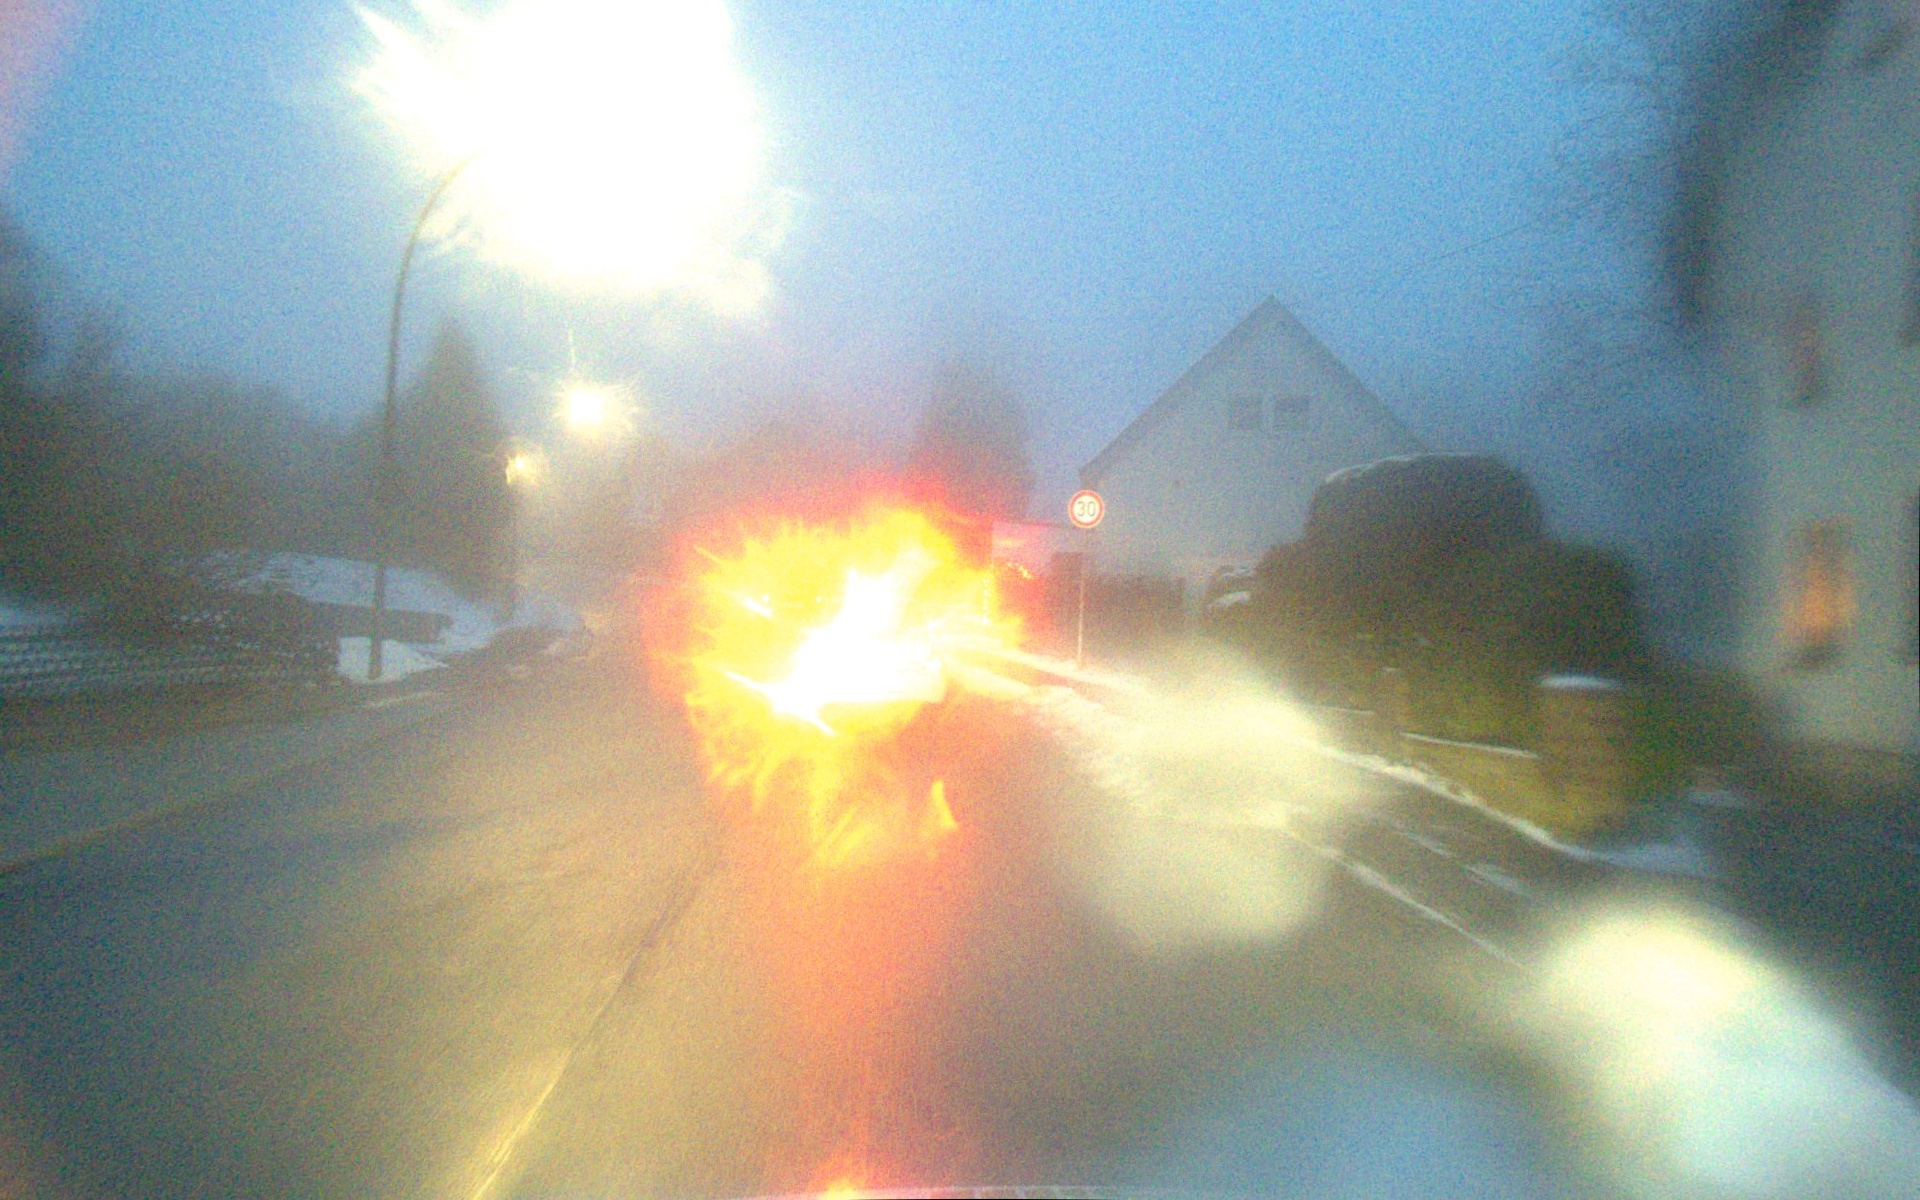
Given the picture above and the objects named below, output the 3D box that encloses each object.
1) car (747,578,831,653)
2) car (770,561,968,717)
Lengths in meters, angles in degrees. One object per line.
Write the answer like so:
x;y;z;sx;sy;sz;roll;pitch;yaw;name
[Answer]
-4.287;0.401;41.037;1.956;1.767;3.872;0;-1;-7;car
-1.178;0.447;19.515;1.863;1.637;3.990;0;-1;-10;car
